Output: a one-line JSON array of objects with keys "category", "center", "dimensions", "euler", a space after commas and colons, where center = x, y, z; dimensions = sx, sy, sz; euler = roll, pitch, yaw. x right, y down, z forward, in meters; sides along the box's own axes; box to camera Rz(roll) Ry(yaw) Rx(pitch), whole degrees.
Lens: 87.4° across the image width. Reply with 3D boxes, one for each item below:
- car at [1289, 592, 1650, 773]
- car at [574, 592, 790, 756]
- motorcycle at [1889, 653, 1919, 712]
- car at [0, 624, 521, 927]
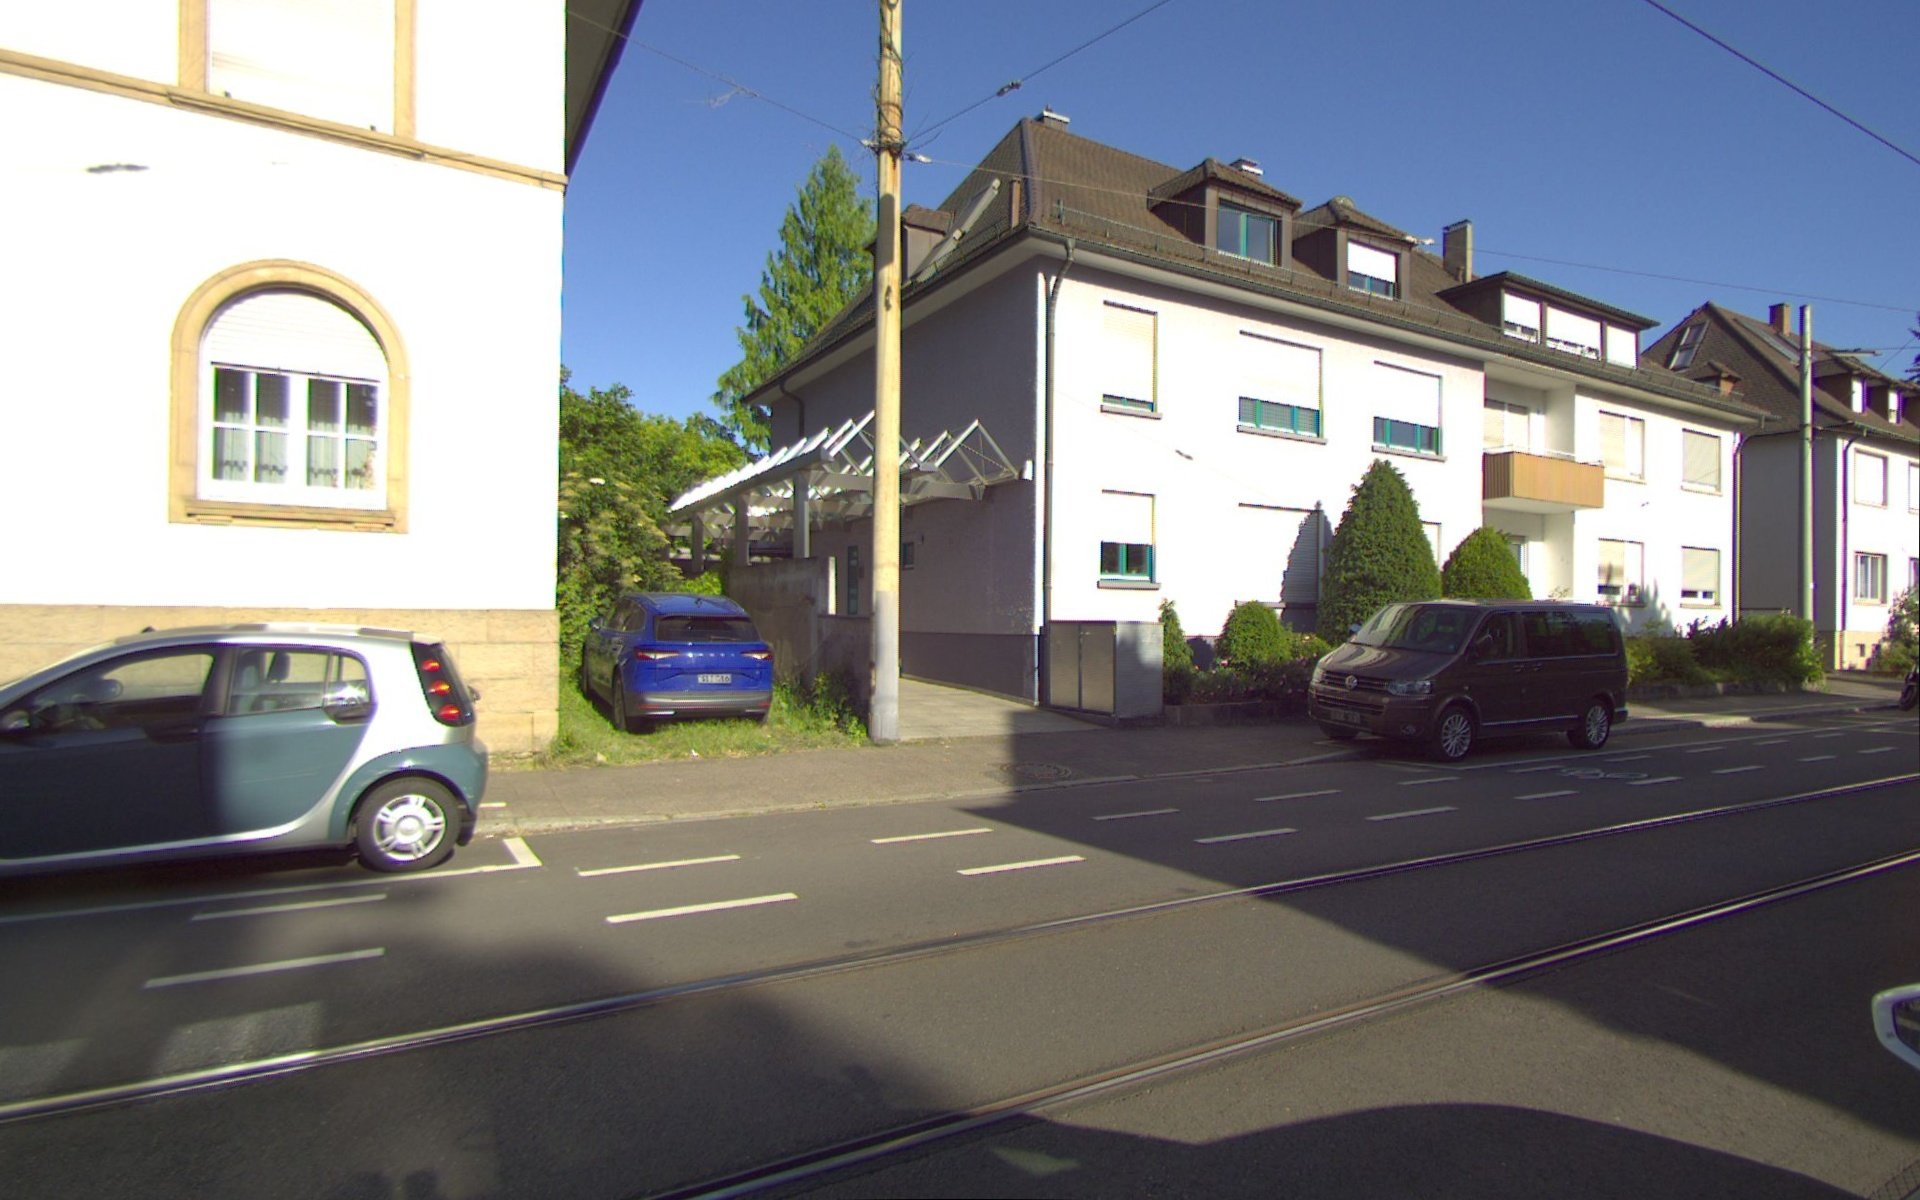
[{"category": "car", "center": [6.884, 0.980, 13.454], "dimensions": [4.889, 2.041, 1.897], "euler": [1, 1, -29]}, {"category": "car", "center": [-3.780, 0.865, 13.177], "dimensions": [1.735, 1.807, 3.905], "euler": [1, -2, -31]}, {"category": "motorcycle", "center": [20.289, 1.713, 21.086], "dimensions": [2.146, 1.177, 0.534], "euler": [1, -3, -30]}, {"category": "car", "center": [-4.849, 0.932, 6.165], "dimensions": [3.790, 1.497, 1.668], "euler": [1, 0, -30]}]
